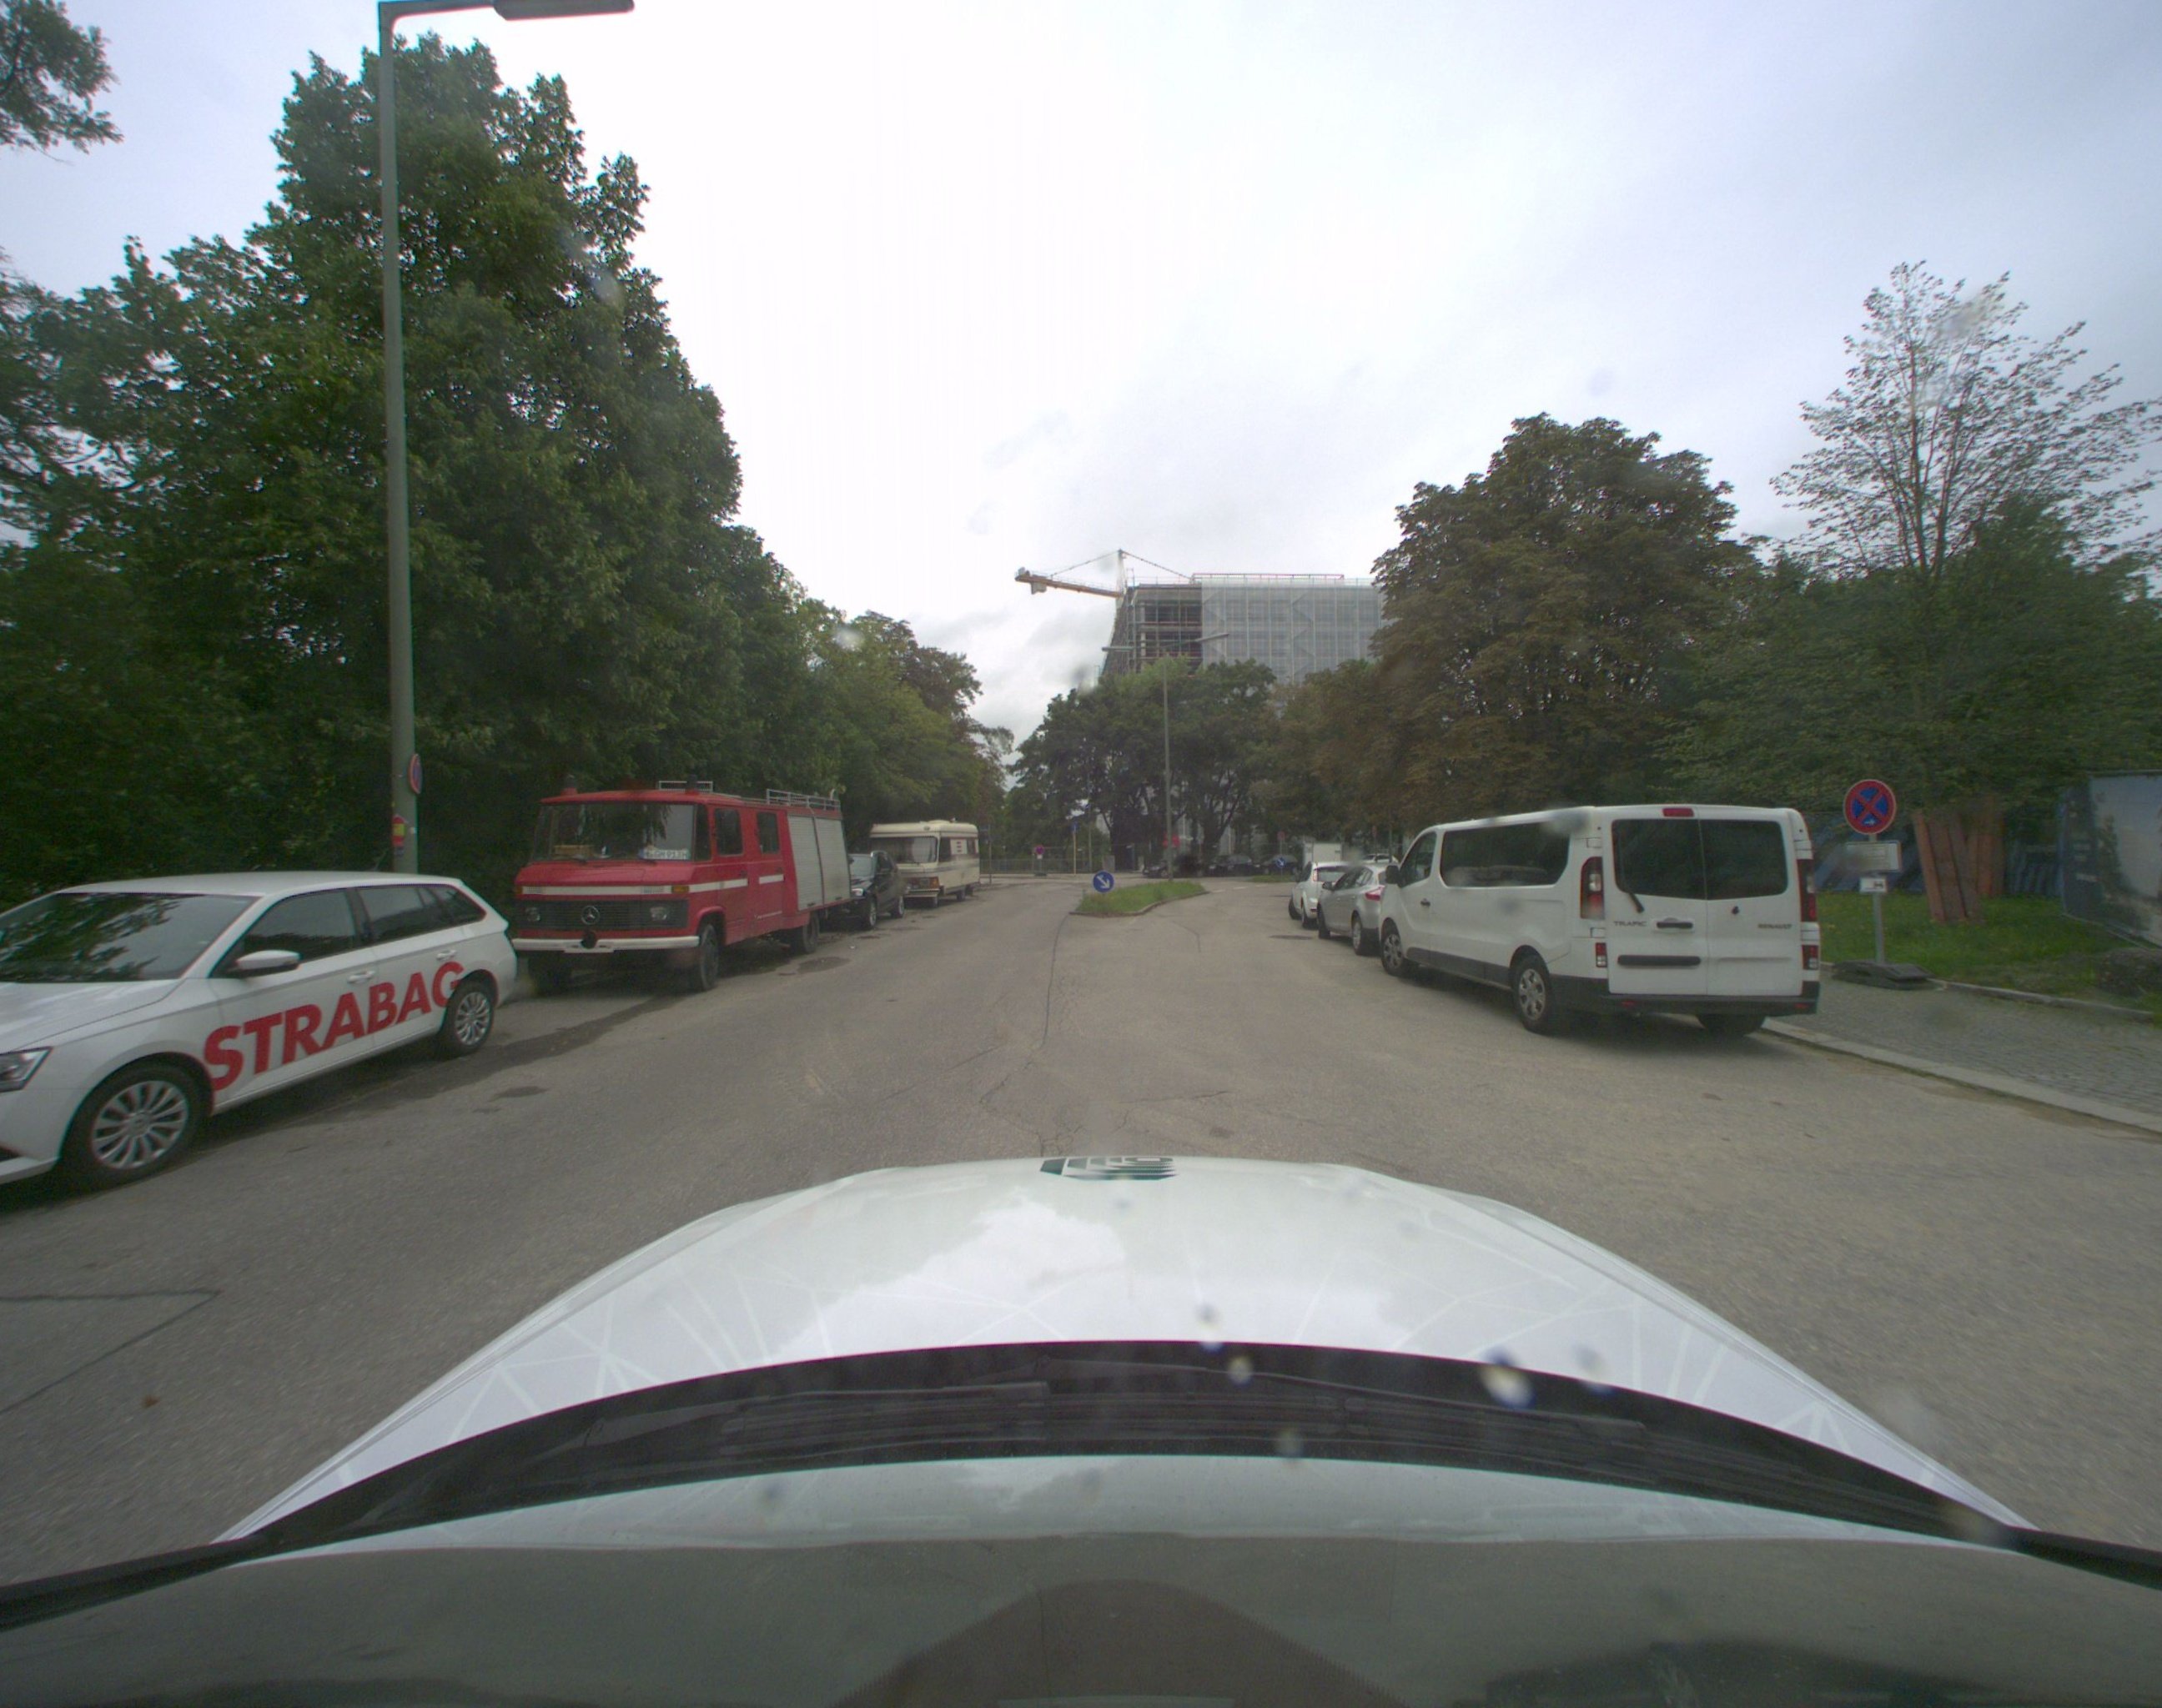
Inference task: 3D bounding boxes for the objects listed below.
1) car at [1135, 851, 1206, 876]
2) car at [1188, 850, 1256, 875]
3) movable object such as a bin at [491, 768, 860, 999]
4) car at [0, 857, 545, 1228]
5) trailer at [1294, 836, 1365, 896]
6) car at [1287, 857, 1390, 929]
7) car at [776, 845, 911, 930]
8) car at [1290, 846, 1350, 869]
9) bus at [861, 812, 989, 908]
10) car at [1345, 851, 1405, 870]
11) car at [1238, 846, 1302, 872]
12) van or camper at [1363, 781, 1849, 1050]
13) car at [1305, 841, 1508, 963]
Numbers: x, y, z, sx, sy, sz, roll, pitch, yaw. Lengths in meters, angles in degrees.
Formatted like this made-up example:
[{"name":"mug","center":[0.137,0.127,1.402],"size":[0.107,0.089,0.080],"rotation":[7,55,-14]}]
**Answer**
[{"name":"car","center":[5.605,0.570,50.876],"size":[4.053,1.432,1.982],"rotation":[-1,2,-29]},{"name":"car","center":[9.165,0.520,53.034],"size":[4.011,1.541,1.981],"rotation":[-1,0,-30]},{"name":"movable object such as a bin","center":[-5.202,0.313,11.850],"size":[2.096,2.458,6.189],"rotation":[-1,0,2]},{"name":"car","center":[-5.591,0.810,5.201],"size":[1.773,1.549,4.250],"rotation":[-1,0,-5]},{"name":"trailer","center":[9.112,0.411,29.607],"size":[1.792,2.014,4.861],"rotation":[-1,-1,24]},{"name":"car","center":[5.956,0.845,19.282],"size":[1.756,1.486,4.232],"rotation":[-1,0,10]},{"name":"car","center":[-5.194,0.665,18.452],"size":[1.770,1.649,4.459],"rotation":[-1,0,0]},{"name":"car","center":[17.053,0.256,58.143],"size":[4.017,1.460,1.823],"rotation":[-2,0,-30]},{"name":"bus","center":[-4.744,0.172,25.910],"size":[2.302,2.699,5.746],"rotation":[-1,0,7]},{"name":"car","center":[21.828,0.483,60.413],"size":[4.227,1.383,1.786],"rotation":[0,-1,-27]},{"name":"car","center":[12.943,0.337,55.748],"size":[4.011,1.706,1.981],"rotation":[0,-1,-30]},{"name":"van or camper","center":[4.893,0.490,8.855],"size":[1.985,2.014,5.380],"rotation":[-1,0,2]},{"name":"car","center":[5.310,0.705,14.005],"size":[1.985,1.728,4.454],"rotation":[1,0,4]}]
